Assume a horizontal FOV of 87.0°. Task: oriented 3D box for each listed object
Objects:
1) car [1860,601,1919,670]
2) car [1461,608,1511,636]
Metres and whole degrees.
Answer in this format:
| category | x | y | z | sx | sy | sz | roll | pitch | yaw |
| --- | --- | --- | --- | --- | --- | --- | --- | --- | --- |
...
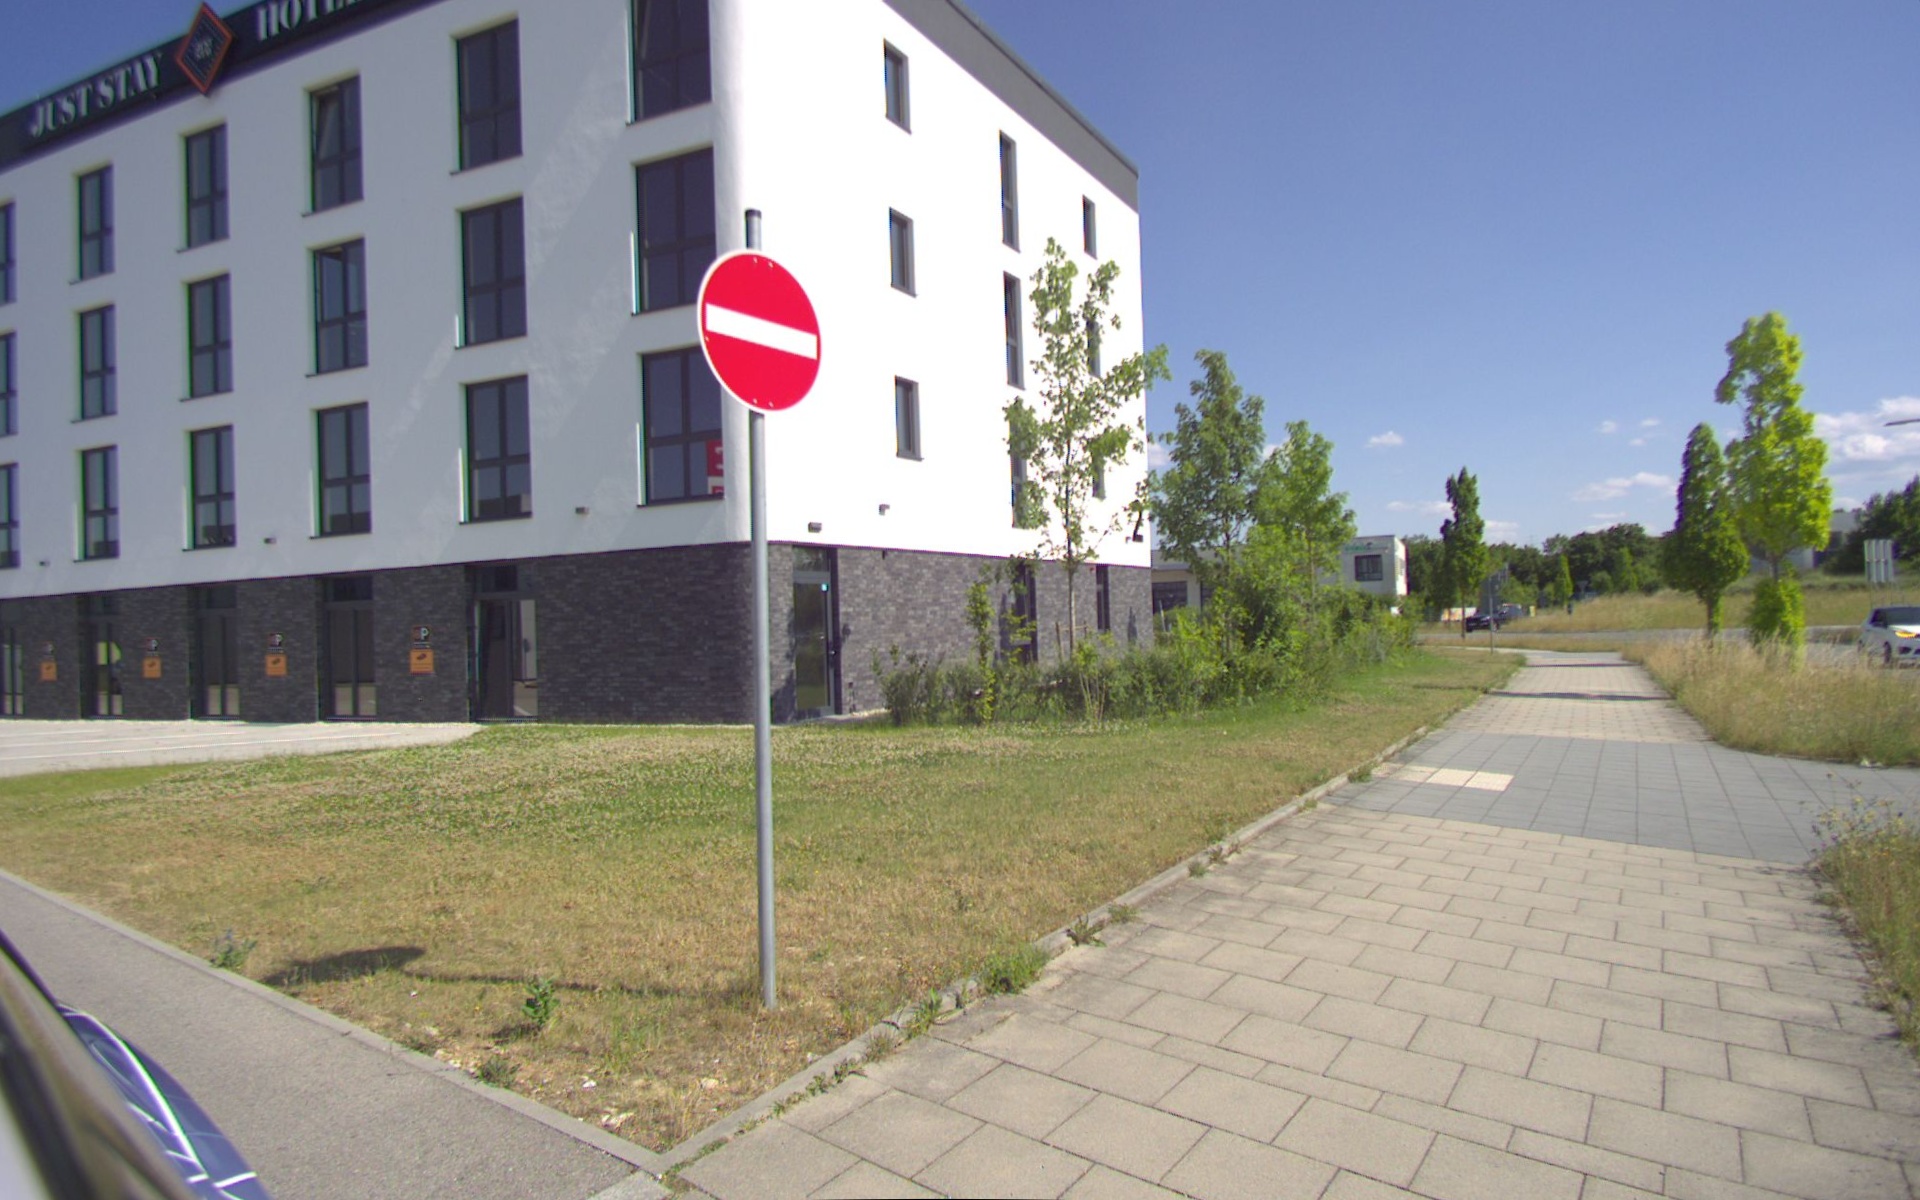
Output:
| category | x | y | z | sx | sy | sz | roll | pitch | yaw |
| --- | --- | --- | --- | --- | --- | --- | --- | --- | --- |
| car | 23.026 | 0.804 | 24.290 | 1.474 | 1.501 | 2.969 | -5 | -2 | 31 |
| car | 33.369 | 1.379 | 64.174 | 1.841 | 1.586 | 3.945 | -5 | -3 | 41 |
